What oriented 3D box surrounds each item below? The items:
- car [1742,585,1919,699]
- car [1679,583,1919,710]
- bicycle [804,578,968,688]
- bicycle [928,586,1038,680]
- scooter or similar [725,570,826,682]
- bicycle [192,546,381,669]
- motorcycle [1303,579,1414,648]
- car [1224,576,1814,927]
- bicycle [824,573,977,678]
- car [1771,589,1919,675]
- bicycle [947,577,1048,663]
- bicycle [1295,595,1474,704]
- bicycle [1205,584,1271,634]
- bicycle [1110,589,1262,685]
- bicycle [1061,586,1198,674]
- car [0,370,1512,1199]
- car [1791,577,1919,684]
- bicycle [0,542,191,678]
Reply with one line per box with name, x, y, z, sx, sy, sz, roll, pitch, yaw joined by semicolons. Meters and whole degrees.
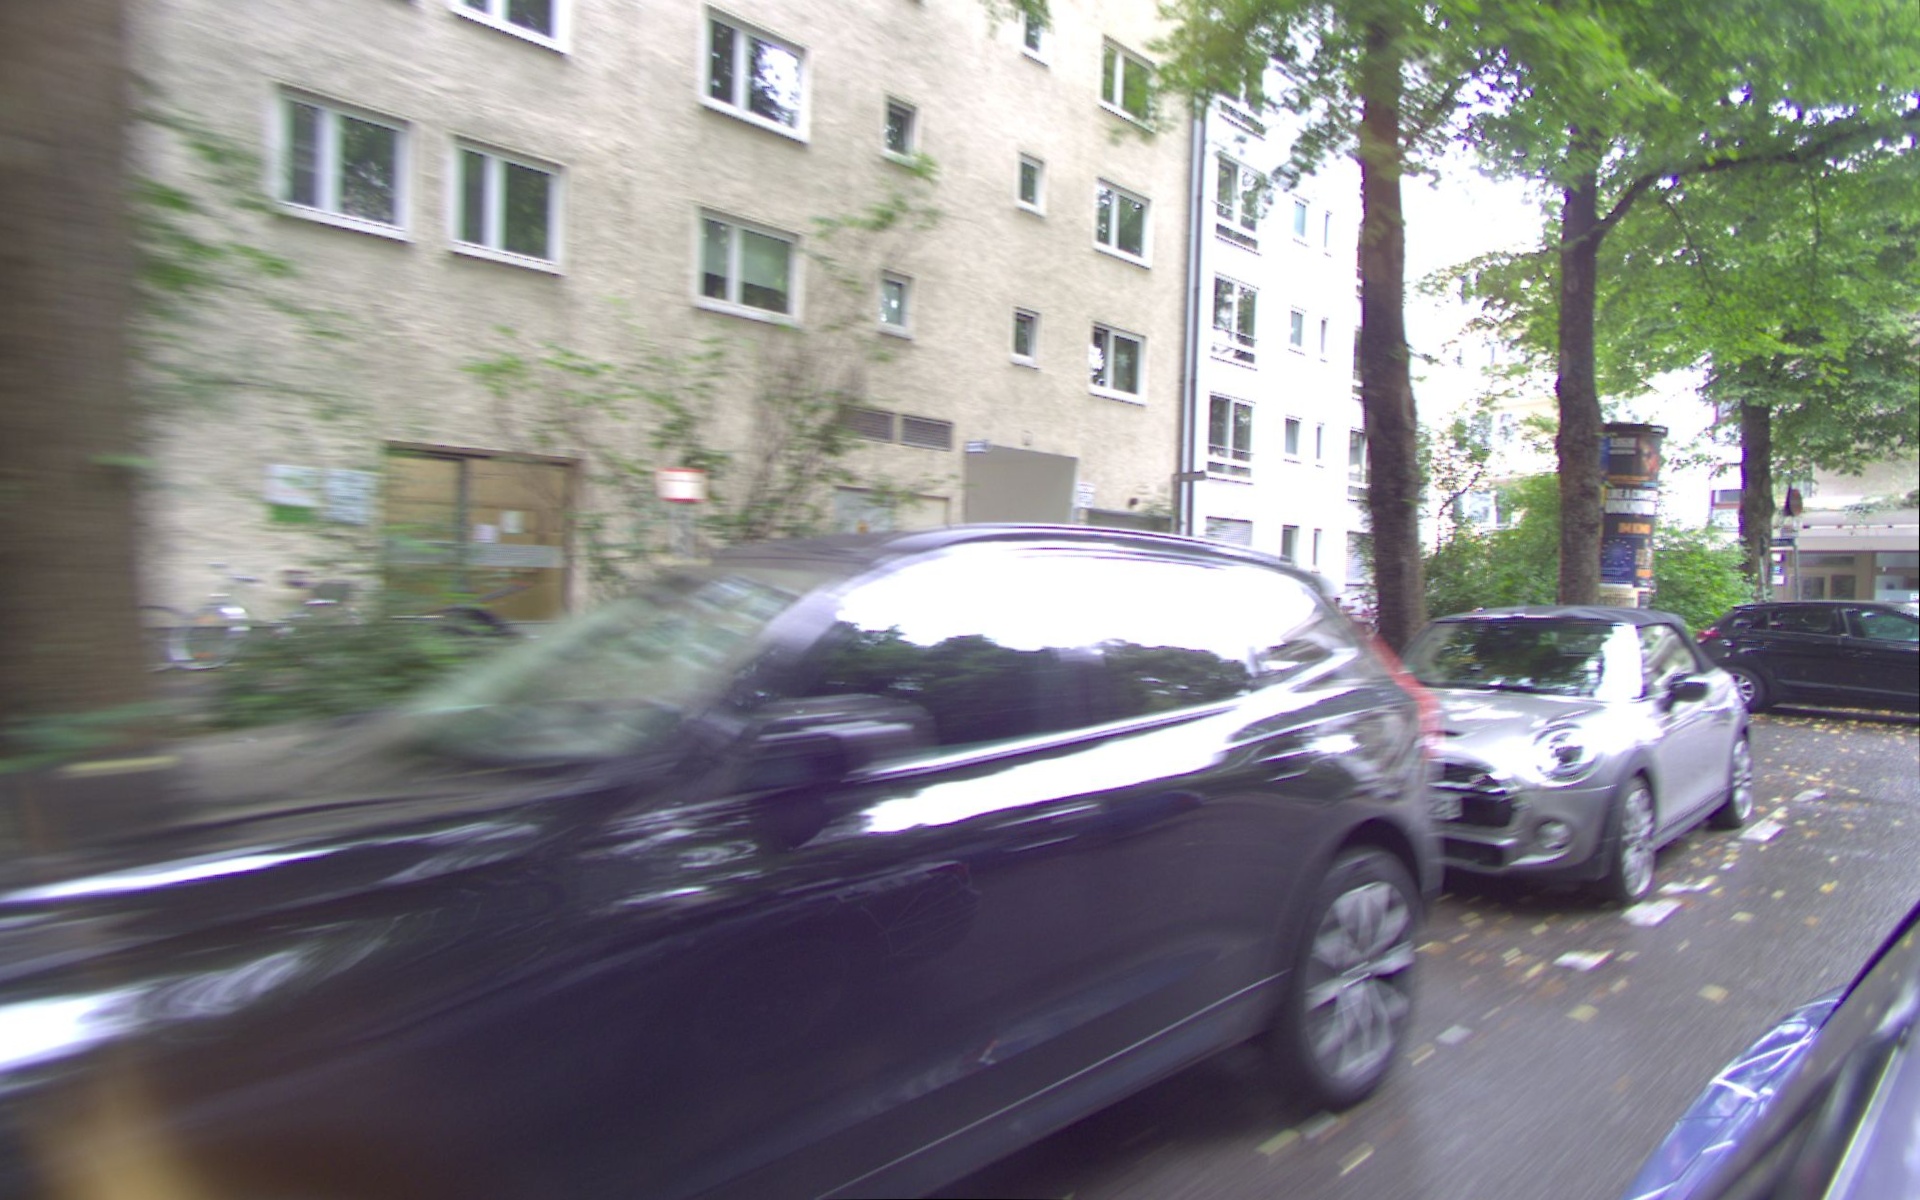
car;13.474;0.584;14.026;1.796;1.465;3.940;0;2;-44
car;11.537;0.547;12.431;1.703;1.411;4.093;0;2;-38
bicycle;-0.820;0.339;11.198;1.745;1.138;0.444;1;1;15
bicycle;0.331;0.392;13.090;0.443;1.138;1.746;2;1;39
scooter or similar;-2.169;0.289;11.941;1.117;1.268;0.384;0;1;-41
bicycle;-7.226;0.067;10.908;1.647;1.239;0.450;0;2;-41
motorcycle;7.473;0.227;19.034;1.801;1.212;0.680;3;2;43
car;3.775;0.607;6.467;4.353;1.430;1.903;-1;3;-41
bicycle;-0.732;0.270;11.983;1.935;1.138;0.440;2;1;35
car;17.132;0.573;17.438;1.927;1.394;4.723;0;2;-44
bicycle;0.554;0.258;14.213;0.443;1.138;1.746;2;1;39
bicycle;5.023;0.566;12.103;1.842;1.178;0.764;2;1;13
bicycle;6.251;0.180;22.687;1.672;1.035;0.539;-1;5;-41
bicycle;2.902;0.441;13.122;1.867;1.138;0.533;2;1;38
bicycle;2.371;0.384;14.313;1.867;1.138;0.533;2;1;38
car;-0.416;0.565;2.711;4.445;1.649;1.835;0;1;-40
car;15.379;0.483;15.388;1.725;1.574;3.980;0;2;-40
bicycle;-8.453;0.085;9.745;1.647;1.239;0.450;0;2;-41
